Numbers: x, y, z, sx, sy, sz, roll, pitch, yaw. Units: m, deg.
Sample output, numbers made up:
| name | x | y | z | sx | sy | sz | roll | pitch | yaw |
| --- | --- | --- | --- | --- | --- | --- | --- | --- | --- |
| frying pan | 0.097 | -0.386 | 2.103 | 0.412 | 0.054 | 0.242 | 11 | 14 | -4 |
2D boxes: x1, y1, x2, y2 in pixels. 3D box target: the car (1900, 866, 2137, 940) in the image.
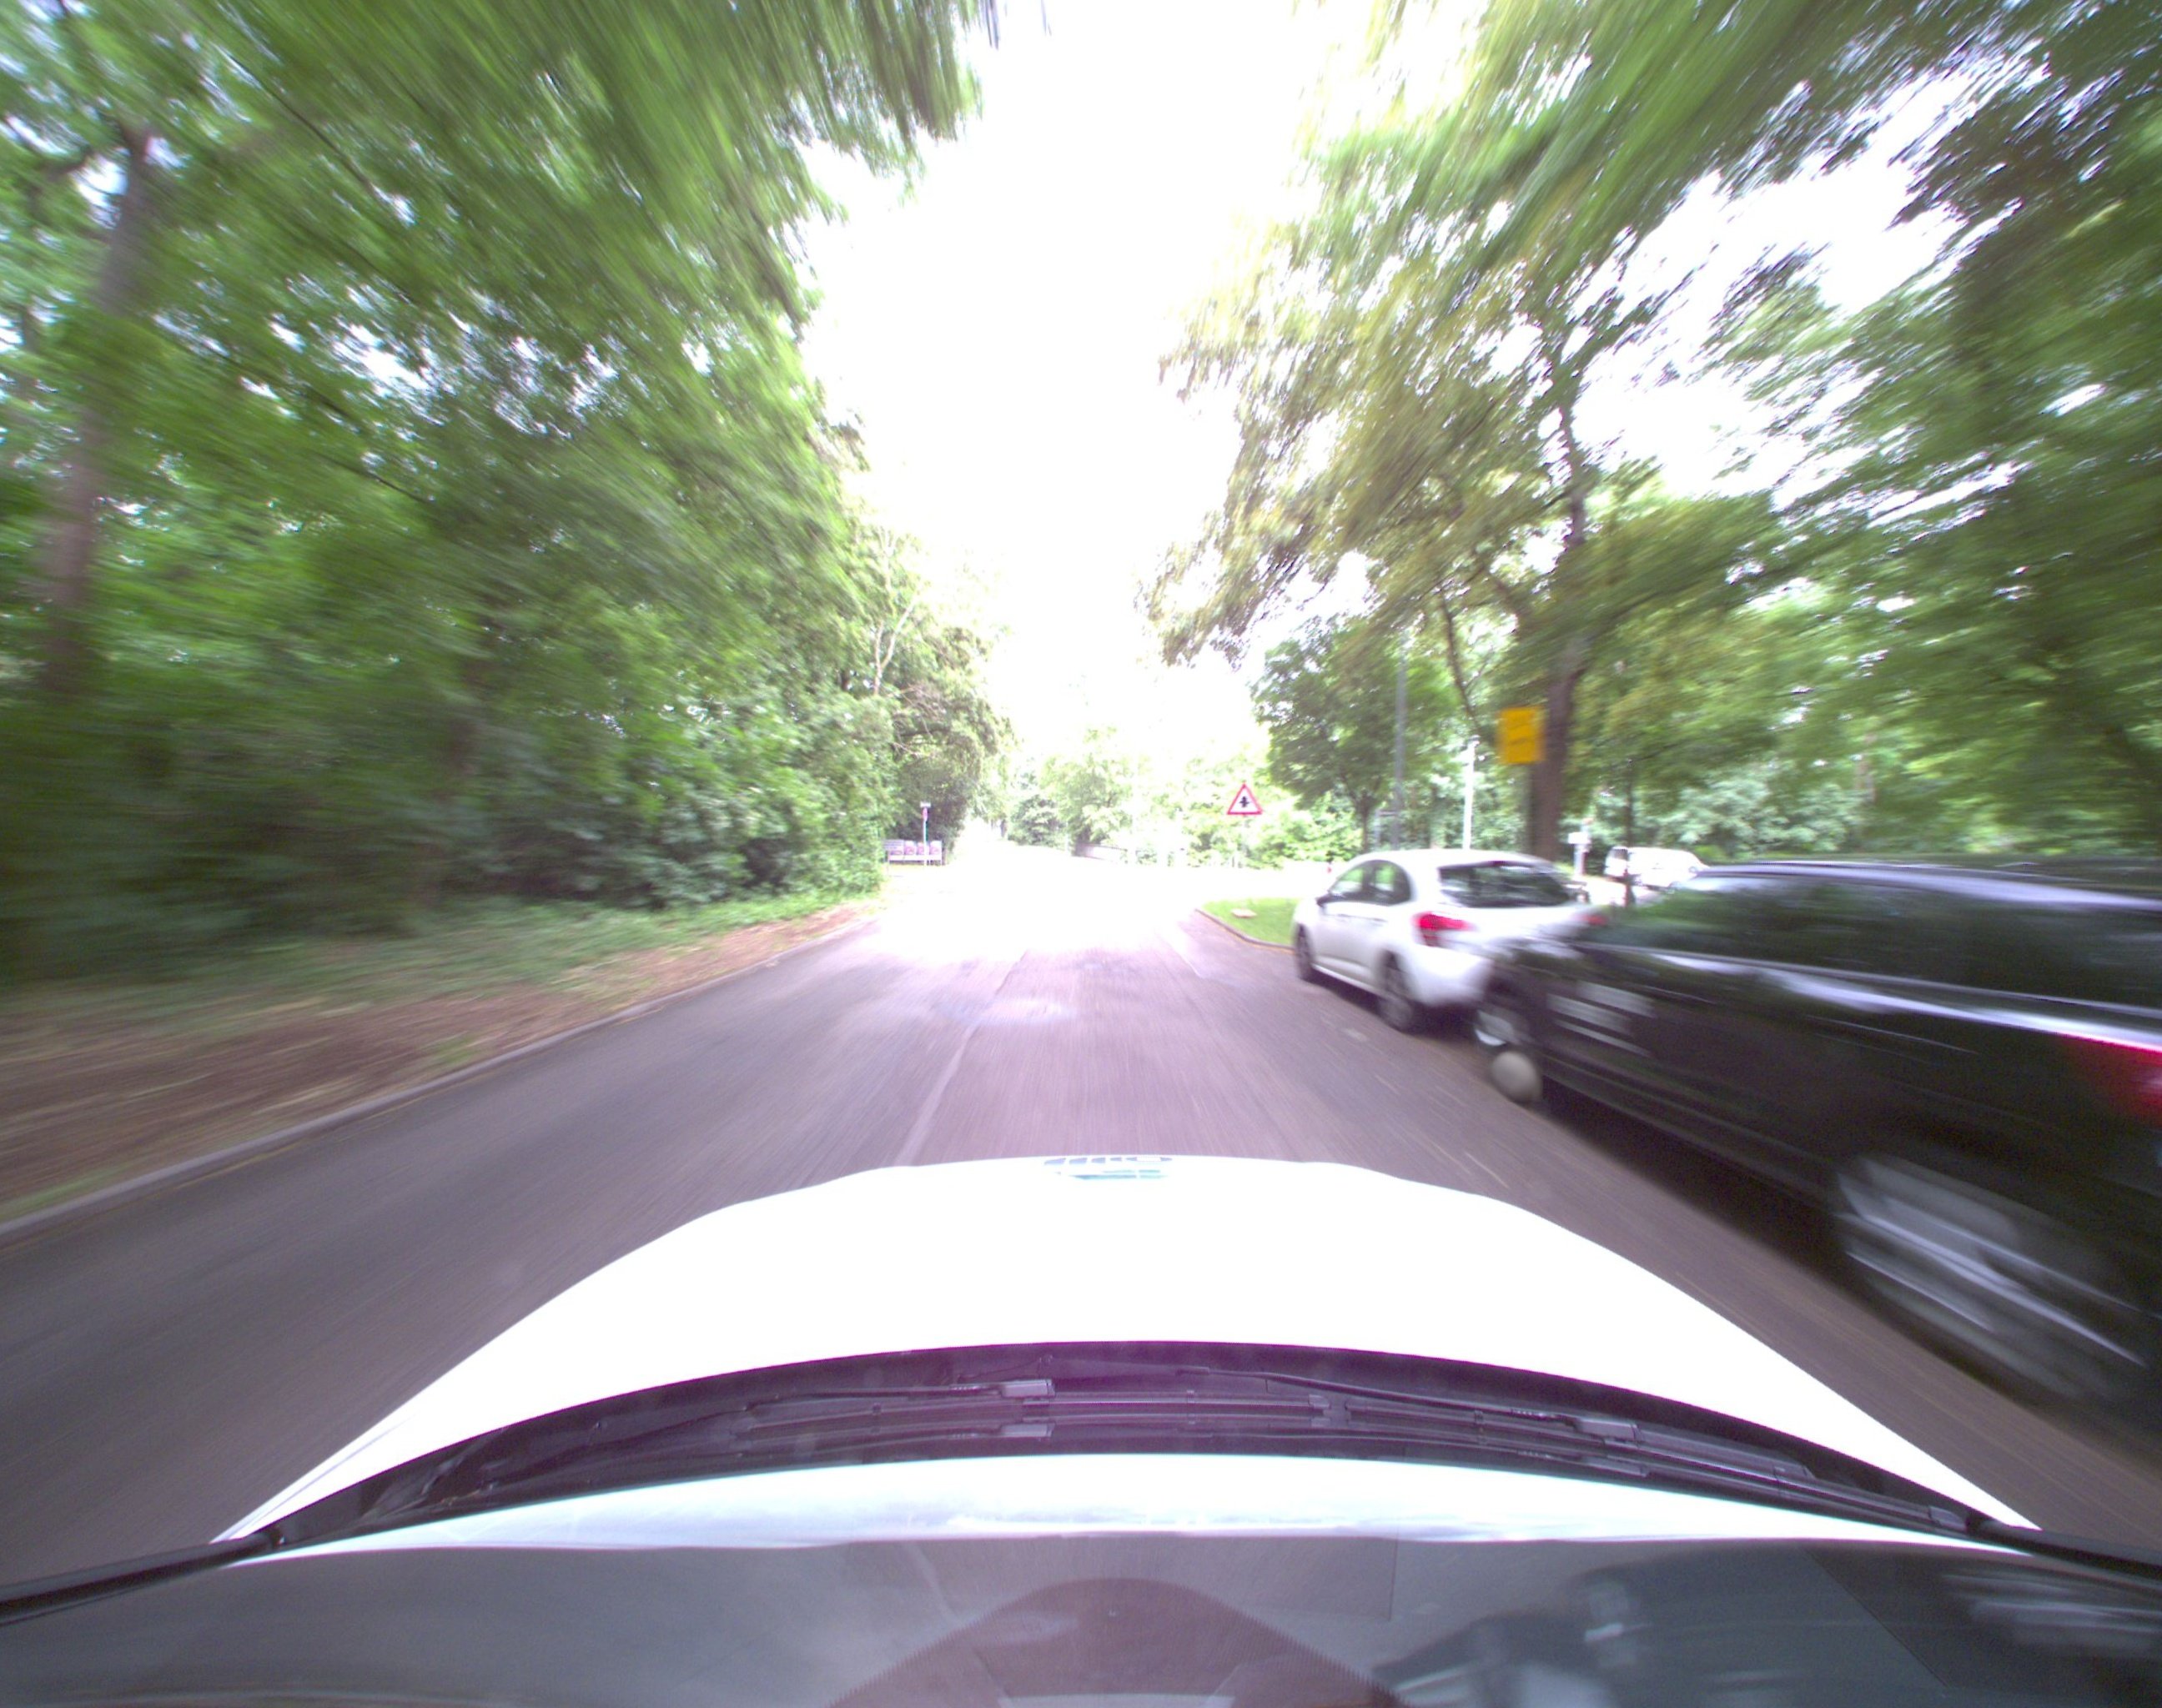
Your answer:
| name | x | y | z | sx | sy | sz | roll | pitch | yaw |
| --- | --- | --- | --- | --- | --- | --- | --- | --- | --- |
| car | 27.193 | 1.388 | 23.775 | 4.371 | 1.848 | 1.837 | 2 | 1 | 8 |

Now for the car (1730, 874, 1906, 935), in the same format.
| name | x | y | z | sx | sy | sz | roll | pitch | yaw |
| --- | --- | --- | --- | --- | --- | --- | --- | --- | --- |
| car | 22.197 | 1.483 | 24.676 | 3.493 | 1.570 | 1.838 | 2 | 1 | 12 |

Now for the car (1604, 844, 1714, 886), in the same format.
| name | x | y | z | sx | sy | sz | roll | pitch | yaw |
| --- | --- | --- | --- | --- | --- | --- | --- | --- | --- |
| car | 29.655 | 0.532 | 41.917 | 4.186 | 2.013 | 2.003 | 1 | 0 | 4 |

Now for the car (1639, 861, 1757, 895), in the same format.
| name | x | y | z | sx | sy | sz | roll | pitch | yaw |
| --- | --- | --- | --- | --- | --- | --- | --- | --- | --- |
| car | 29.413 | 1.124 | 38.914 | 4.186 | 1.498 | 1.802 | 1 | 0 | 4 |

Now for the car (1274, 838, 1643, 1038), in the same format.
| name | x | y | z | sx | sy | sz | roll | pitch | yaw |
| --- | --- | --- | --- | --- | --- | --- | --- | --- | --- |
| car | 3.376 | 0.640 | 8.169 | 1.770 | 1.522 | 3.776 | 1 | 0 | -4 |

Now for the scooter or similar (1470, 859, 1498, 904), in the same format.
| name | x | y | z | sx | sy | sz | roll | pitch | yaw |
| --- | --- | --- | --- | --- | --- | --- | --- | --- | --- |
| scooter or similar | 12.099 | 0.809 | 24.446 | 0.282 | 1.286 | 1.108 | 2 | 1 | 2 |

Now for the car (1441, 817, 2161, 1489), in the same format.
| name | x | y | z | sx | sy | sz | roll | pitch | yaw |
| --- | --- | --- | --- | --- | --- | --- | --- | --- | --- |
| car | 3.404 | 0.677 | 3.712 | 1.767 | 1.522 | 4.185 | 1 | 0 | 2 |
